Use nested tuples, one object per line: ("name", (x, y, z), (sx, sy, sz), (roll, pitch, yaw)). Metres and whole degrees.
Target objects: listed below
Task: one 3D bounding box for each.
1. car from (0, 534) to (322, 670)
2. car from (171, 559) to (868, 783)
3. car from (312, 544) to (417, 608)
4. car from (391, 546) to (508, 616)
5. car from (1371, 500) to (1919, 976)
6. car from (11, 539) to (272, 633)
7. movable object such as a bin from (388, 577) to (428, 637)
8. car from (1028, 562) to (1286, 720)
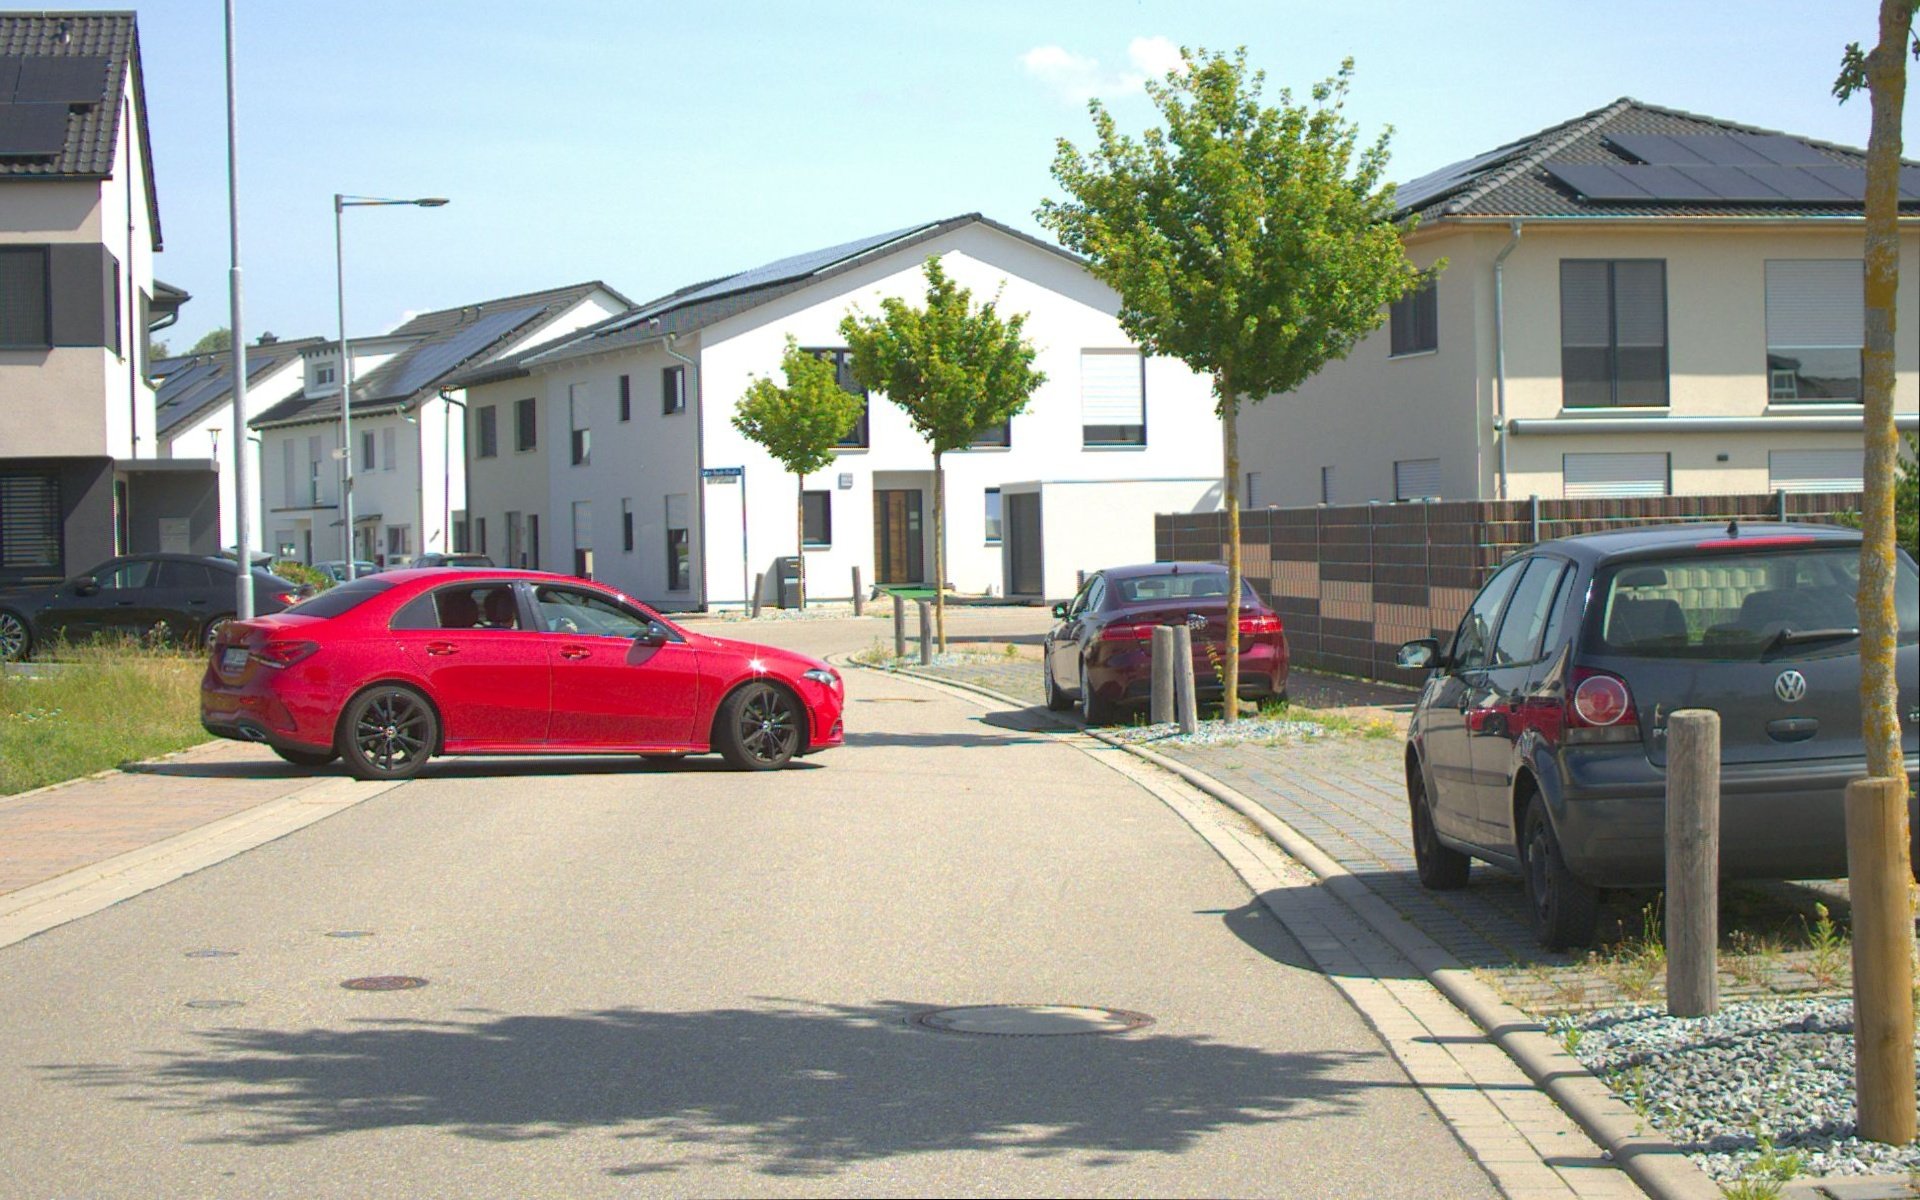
("car", (-10.465, 0.019, 44.121), (4.374, 1.626, 1.771), (1, 0, -8))
("car", (-3.046, 0.433, 24.055), (4.504, 1.433, 1.768), (-1, 1, -29))
("car", (-14.487, -0.588, 83.520), (1.676, 1.459, 3.945), (-2, 1, -22))
("car", (-11.063, -0.417, 74.331), (1.726, 1.418, 4.001), (-2, 1, -20))
("car", (2.687, 0.420, 13.216), (1.598, 1.470, 3.675), (-4, 1, -1))
("car", (-13.479, -0.249, 56.759), (3.986, 1.481, 1.755), (-1, 1, -6))
("movable object such as a bin", (-8.730, 0.110, 54.420), (0.534, 0.933, 0.526), (1, 1, 1))
("car", (1.767, 0.332, 32.282), (1.754, 1.358, 4.576), (0, 1, -5))
